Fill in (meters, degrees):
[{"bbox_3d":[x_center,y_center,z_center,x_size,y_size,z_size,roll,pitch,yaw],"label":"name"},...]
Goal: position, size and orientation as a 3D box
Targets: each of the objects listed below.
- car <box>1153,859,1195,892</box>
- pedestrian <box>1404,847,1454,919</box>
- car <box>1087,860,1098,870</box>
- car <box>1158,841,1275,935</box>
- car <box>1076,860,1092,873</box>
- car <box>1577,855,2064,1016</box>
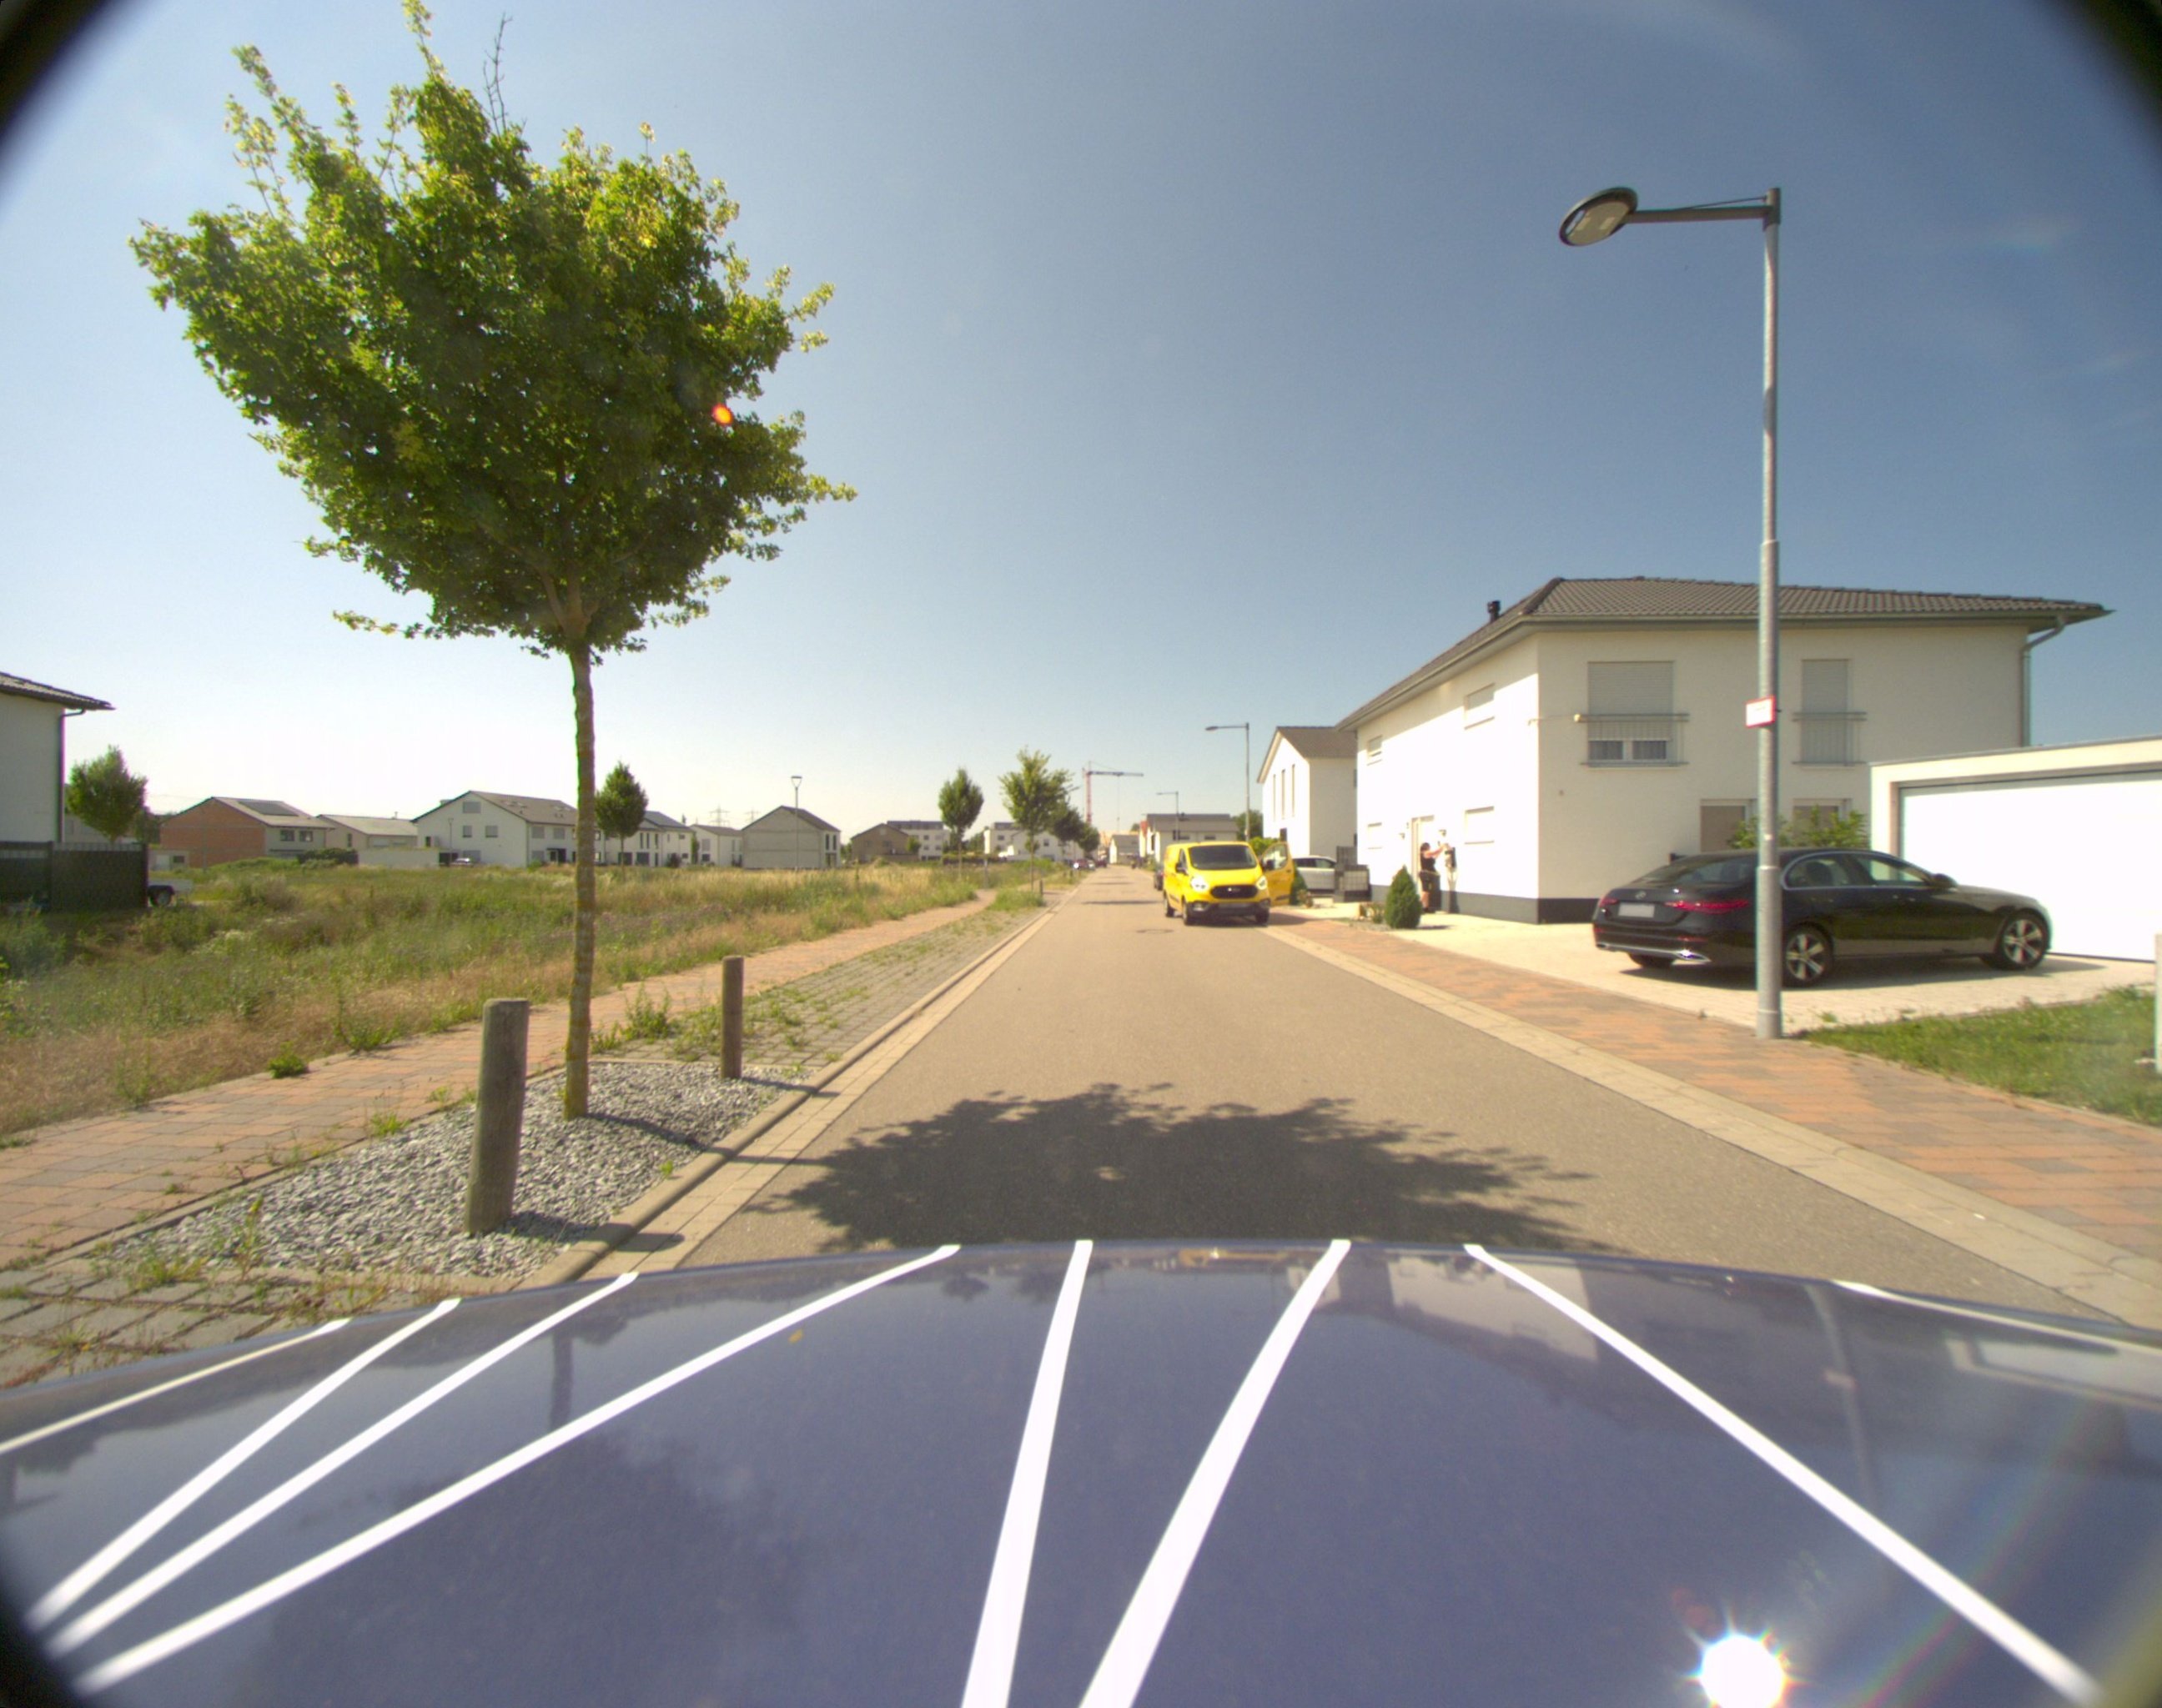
[{"bbox_3d":[4.674,1.045,38.646,1.694,1.464,4.445,-2,0,2],"label":"car"},{"bbox_3d":[8.339,0.683,18.212,0.931,1.675,0.537,-3,0,11],"label":"pedestrian"},{"bbox_3d":[1.732,1.638,110.446,1.493,1.389,3.273,0,0,2],"label":"car"},{"bbox_3d":[3.224,0.749,19.103,1.889,2.002,4.840,-1,0,-2],"label":"car"},{"bbox_3d":[0.355,1.494,90.657,1.768,1.483,4.000,0,0,2],"label":"car"},{"bbox_3d":[8.230,0.789,8.598,4.408,1.444,1.747,-1,0,-11],"label":"car"}]
